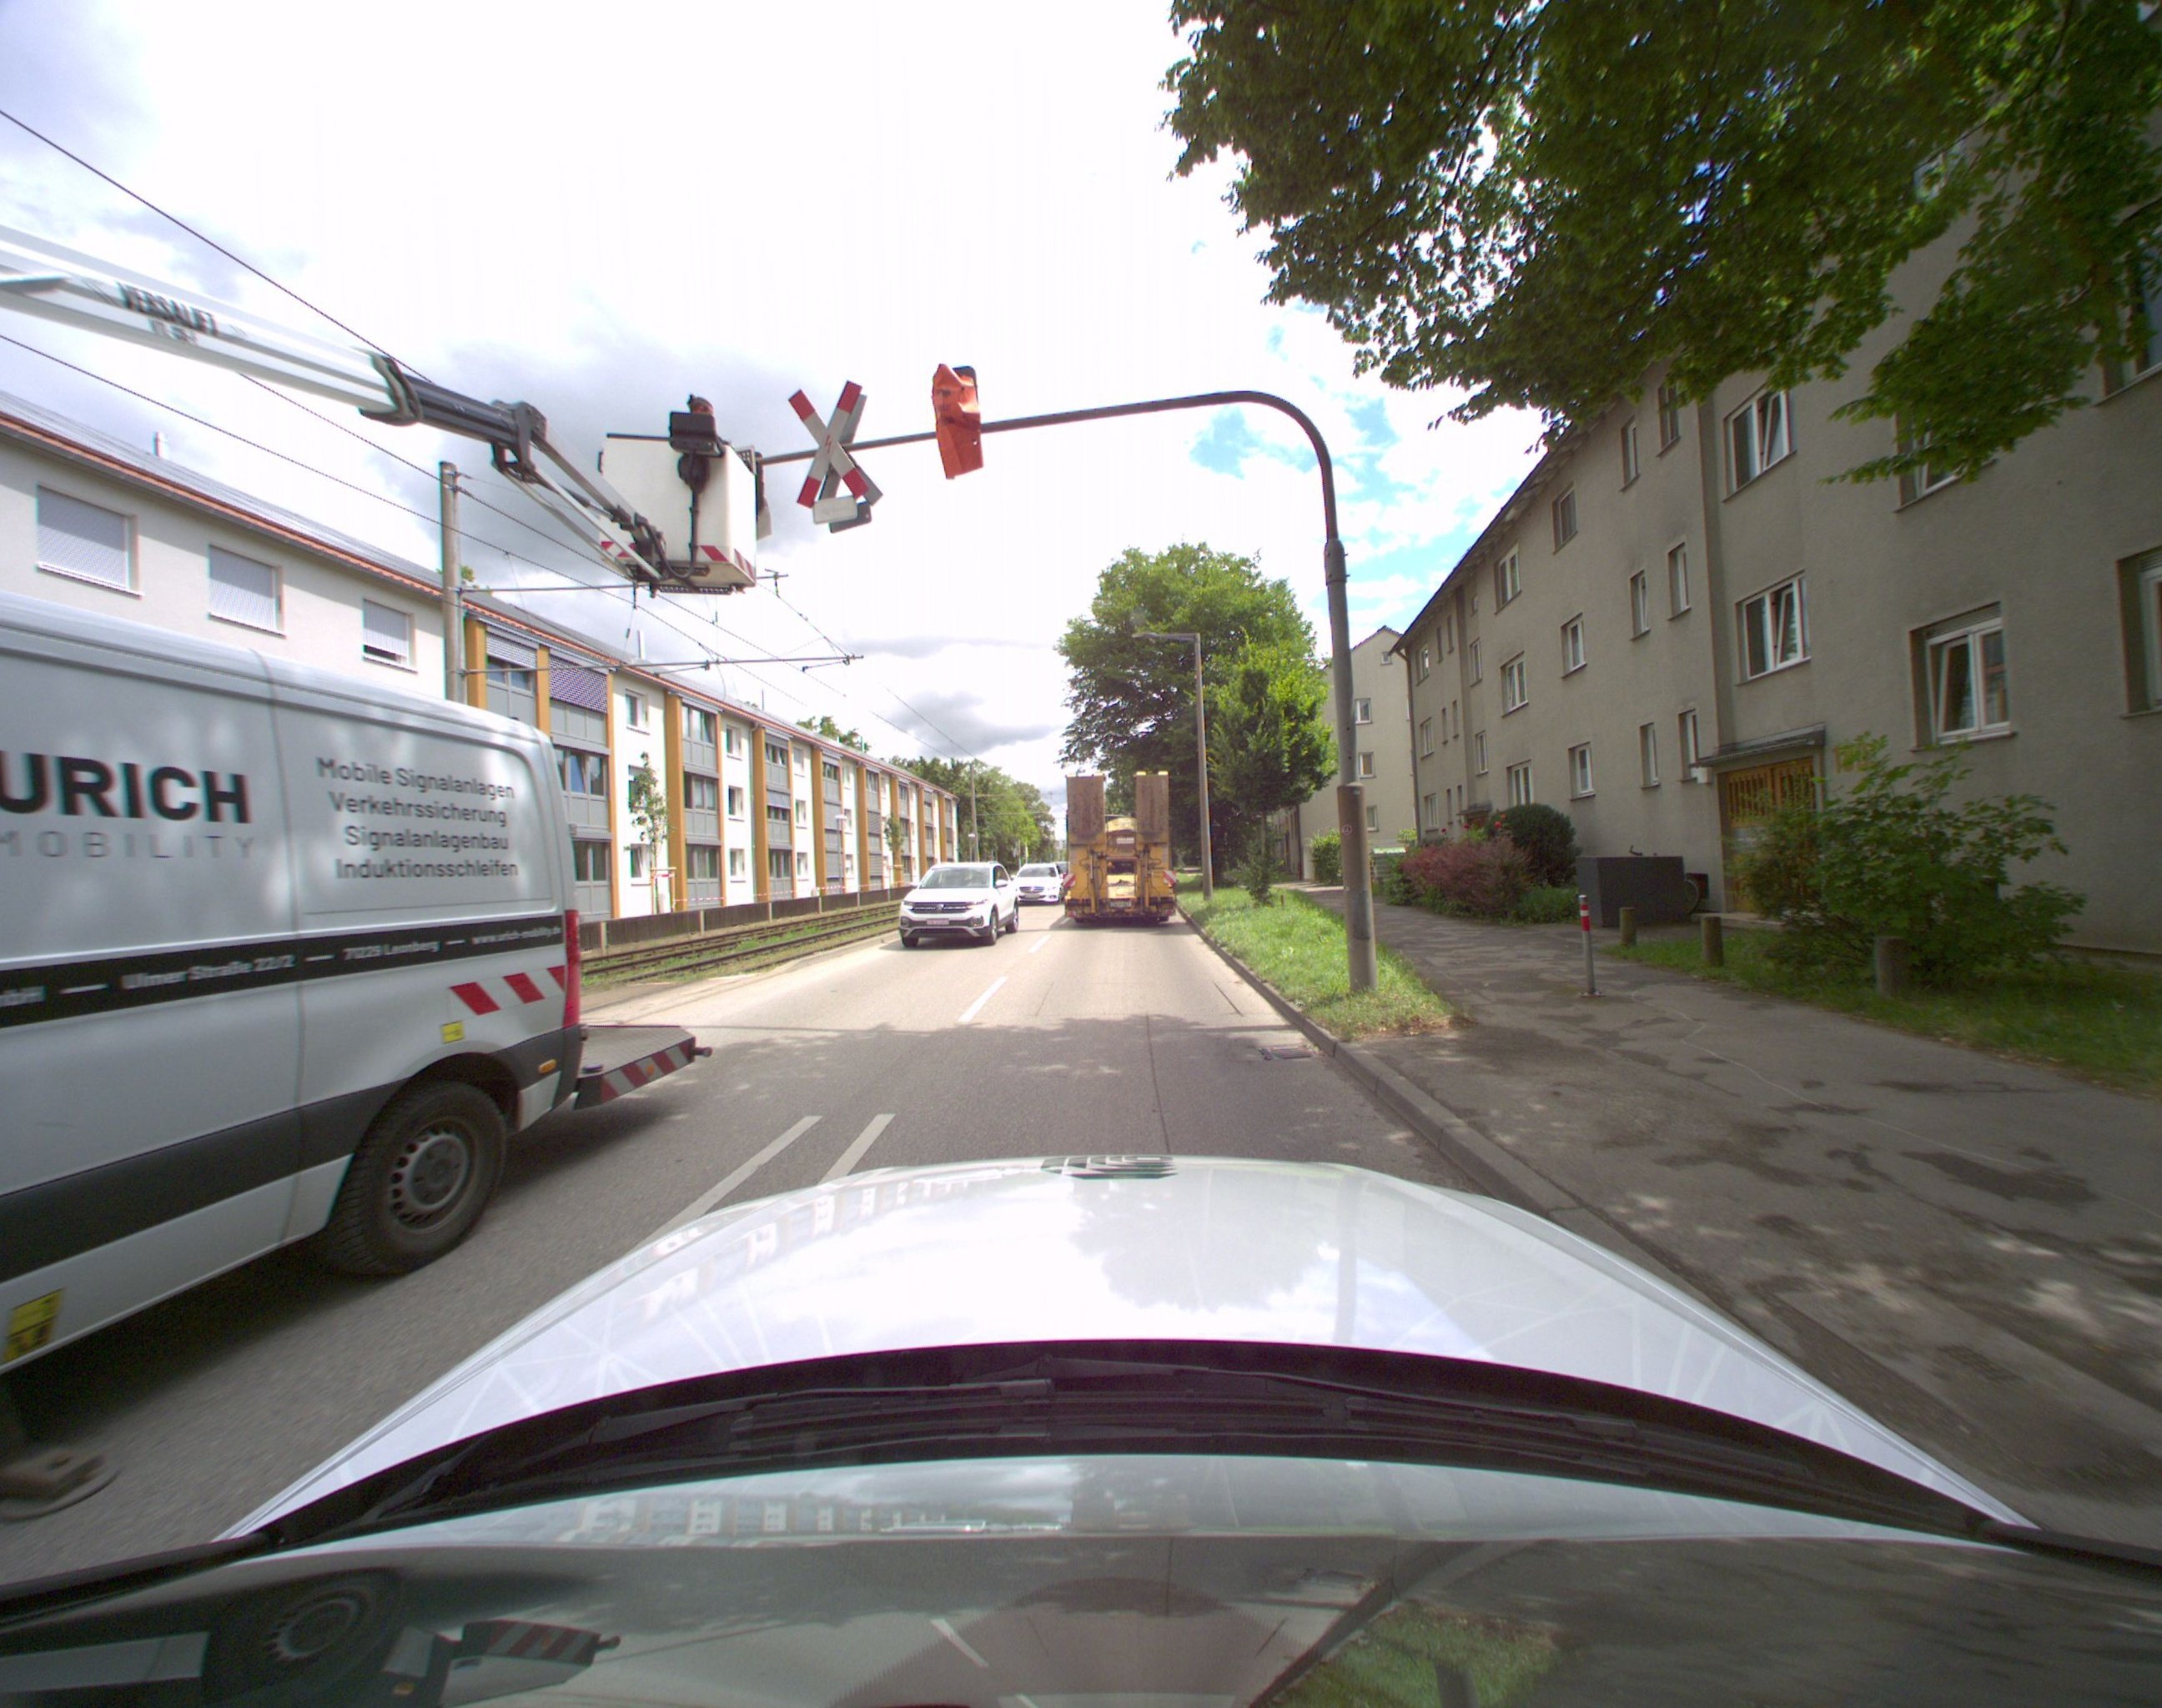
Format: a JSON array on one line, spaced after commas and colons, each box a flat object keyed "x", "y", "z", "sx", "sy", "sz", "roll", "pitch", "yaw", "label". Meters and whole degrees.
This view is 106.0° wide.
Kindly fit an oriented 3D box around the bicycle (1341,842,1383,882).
[{"x": 11.605, "y": 0.331, "z": 33.681, "sx": 1.340, "sy": 1.574, "sz": 1.073, "roll": -3, "pitch": -1, "yaw": 6, "label": "bicycle"}]

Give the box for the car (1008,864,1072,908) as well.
[{"x": -1.458, "y": 1.151, "z": 30.487, "sx": 1.871, "sy": 1.481, "sz": 4.532, "roll": -1, "pitch": -1, "yaw": 3, "label": "car"}]

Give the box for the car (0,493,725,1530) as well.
[{"x": -3.519, "y": 0.387, "z": 2.242, "sx": 1.985, "sy": 2.430, "sz": 6.326, "roll": -2, "pitch": -1, "yaw": 3, "label": "car"}]

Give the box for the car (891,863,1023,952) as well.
[{"x": -2.357, "y": 0.982, "z": 16.462, "sx": 1.710, "sy": 1.552, "sz": 3.922, "roll": -1, "pitch": -1, "yaw": 5, "label": "car"}]

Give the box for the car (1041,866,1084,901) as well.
[{"x": -0.845, "y": 1.391, "z": 39.339, "sx": 1.643, "sy": 1.520, "sz": 3.869, "roll": -2, "pitch": -1, "yaw": 4, "label": "car"}]

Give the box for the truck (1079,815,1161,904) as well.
[{"x": 1.659, "y": 0.238, "z": 33.090, "sx": 2.904, "sy": 3.167, "sz": 7.687, "roll": -1, "pitch": -1, "yaw": 4, "label": "truck"}]

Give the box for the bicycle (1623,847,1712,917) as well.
[{"x": 9.339, "y": 0.421, "z": 13.030, "sx": 0.476, "sy": 1.032, "sz": 1.575, "roll": -4, "pitch": -1, "yaw": 10, "label": "bicycle"}]

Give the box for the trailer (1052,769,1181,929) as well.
[{"x": 1.074, "y": -0.046, "z": 23.750, "sx": 2.811, "sy": 3.524, "sz": 11.059, "roll": -1, "pitch": -1, "yaw": 3, "label": "trailer"}]
